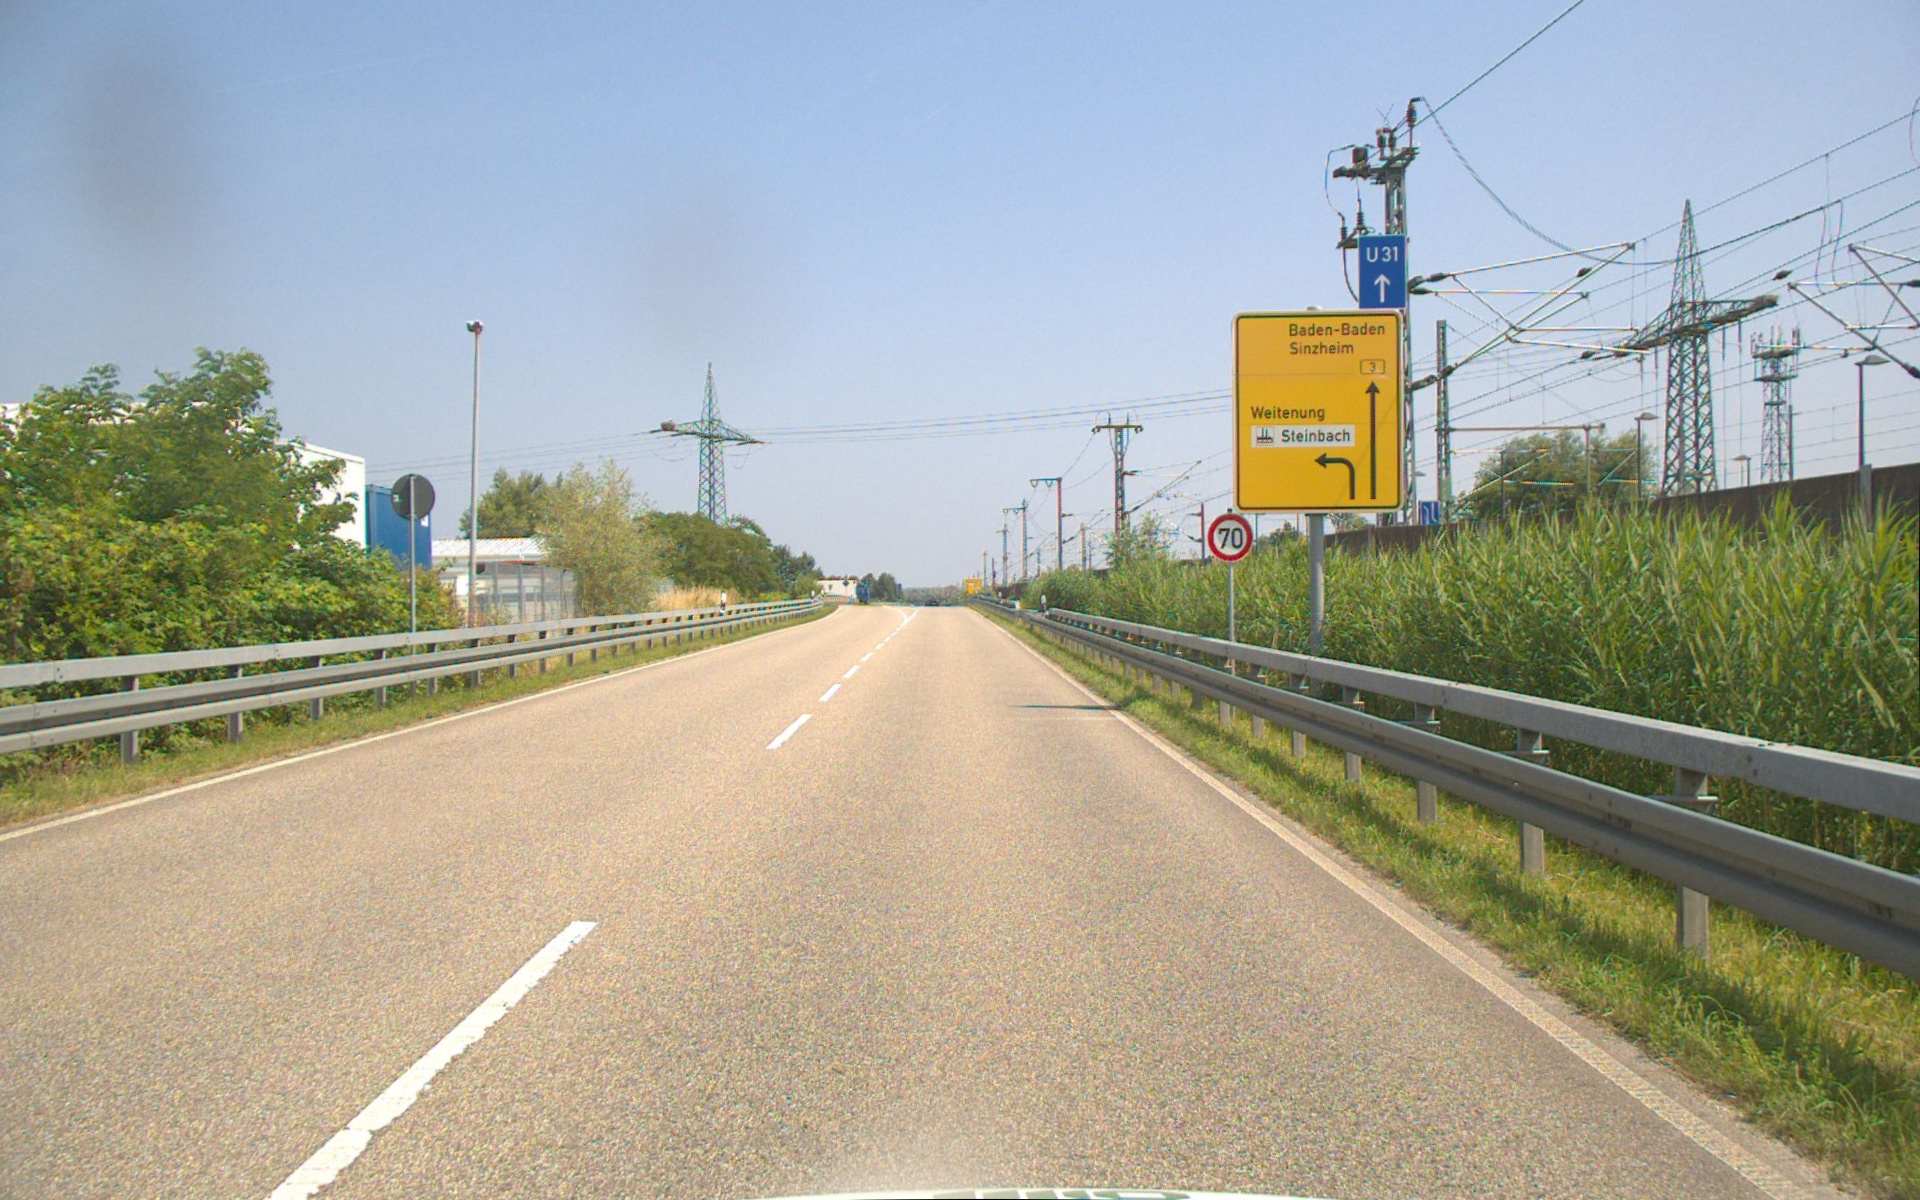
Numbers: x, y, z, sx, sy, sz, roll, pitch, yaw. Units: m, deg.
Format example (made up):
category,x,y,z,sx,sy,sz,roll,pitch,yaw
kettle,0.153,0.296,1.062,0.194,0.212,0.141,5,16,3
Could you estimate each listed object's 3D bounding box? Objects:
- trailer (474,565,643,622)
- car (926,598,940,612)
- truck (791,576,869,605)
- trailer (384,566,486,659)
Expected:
category,x,y,z,sx,sy,sz,roll,pitch,yaw
trailer,-13.951,-0.229,57.697,5.277,1.881,2.543,1,0,-2
car,-4.110,0.709,253.605,1.954,2.049,3.996,1,0,-5
truck,-17.433,-1.253,221.876,10.203,3.695,2.844,1,0,-2
trailer,-14.747,0.318,46.648,1.955,2.480,3.918,1,0,-6
